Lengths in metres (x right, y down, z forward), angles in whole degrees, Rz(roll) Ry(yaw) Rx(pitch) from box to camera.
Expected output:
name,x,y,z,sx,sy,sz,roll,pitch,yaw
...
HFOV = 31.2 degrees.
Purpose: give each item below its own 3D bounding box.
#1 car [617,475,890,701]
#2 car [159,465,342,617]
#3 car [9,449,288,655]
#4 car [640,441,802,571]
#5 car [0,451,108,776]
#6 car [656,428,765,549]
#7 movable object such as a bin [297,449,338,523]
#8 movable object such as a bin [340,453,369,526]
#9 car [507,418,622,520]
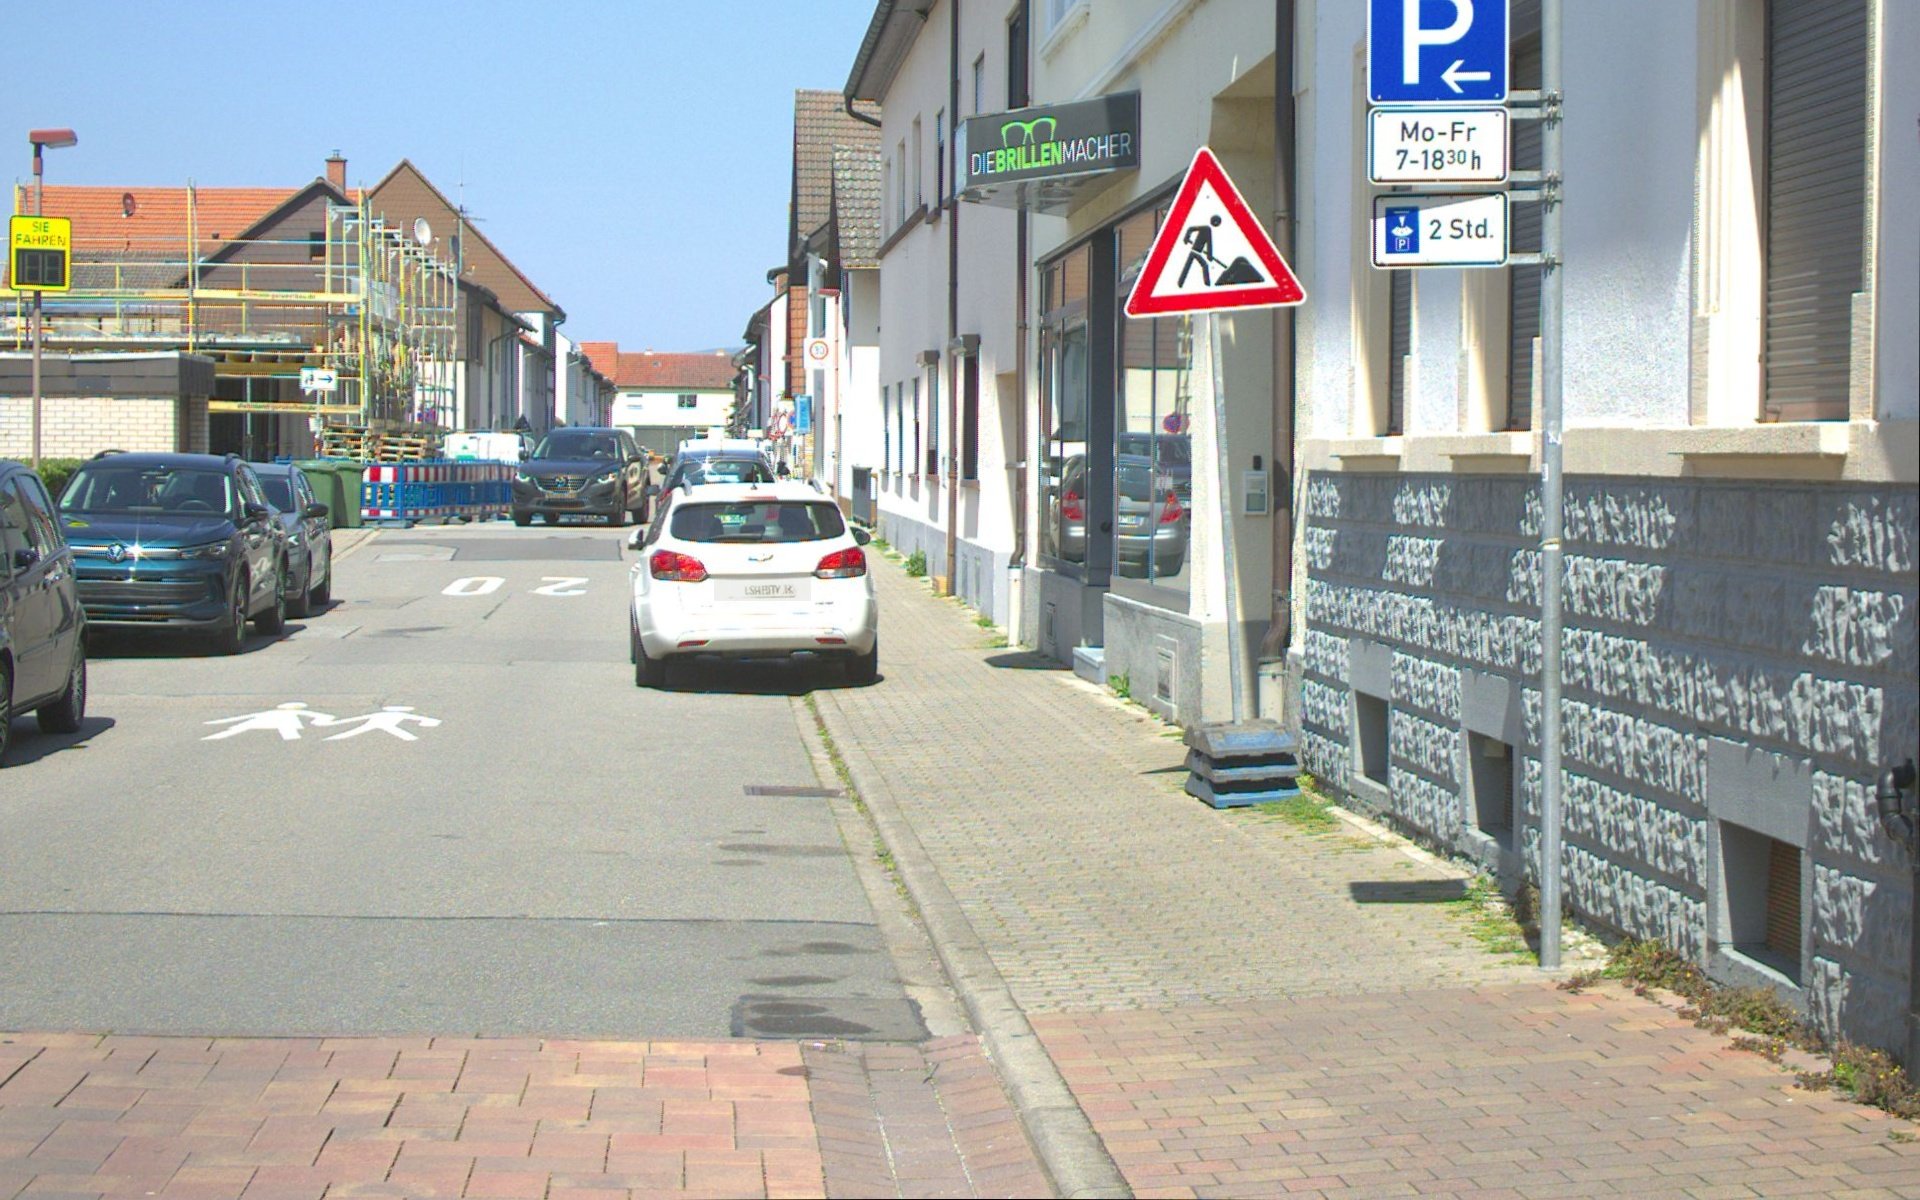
name,x,y,z,sx,sy,sz,roll,pitch,yaw
car,-1.665,-0.156,26.323,1.886,1.536,4.244,0,3,-6
car,-7.197,-0.644,35.130,1.436,1.469,3.787,0,2,-6
car,-6.923,-0.475,29.709,1.826,1.624,4.218,0,3,-6
car,-3.249,-1.304,46.143,1.884,1.550,3.896,-3,3,-7
car,-5.841,0.003,18.976,1.637,1.623,3.769,0,3,-5
car,-3.737,-1.687,51.295,1.564,1.607,3.544,0,5,-5
movable object such as a bin,-10.128,-1.798,54.186,0.621,1.151,0.677,0,3,-11
movable object such as a bin,-9.639,-1.754,54.718,0.431,1.151,0.365,0,3,-14
car,-6.733,-2.264,58.800,1.881,1.662,4.155,0,3,-6
